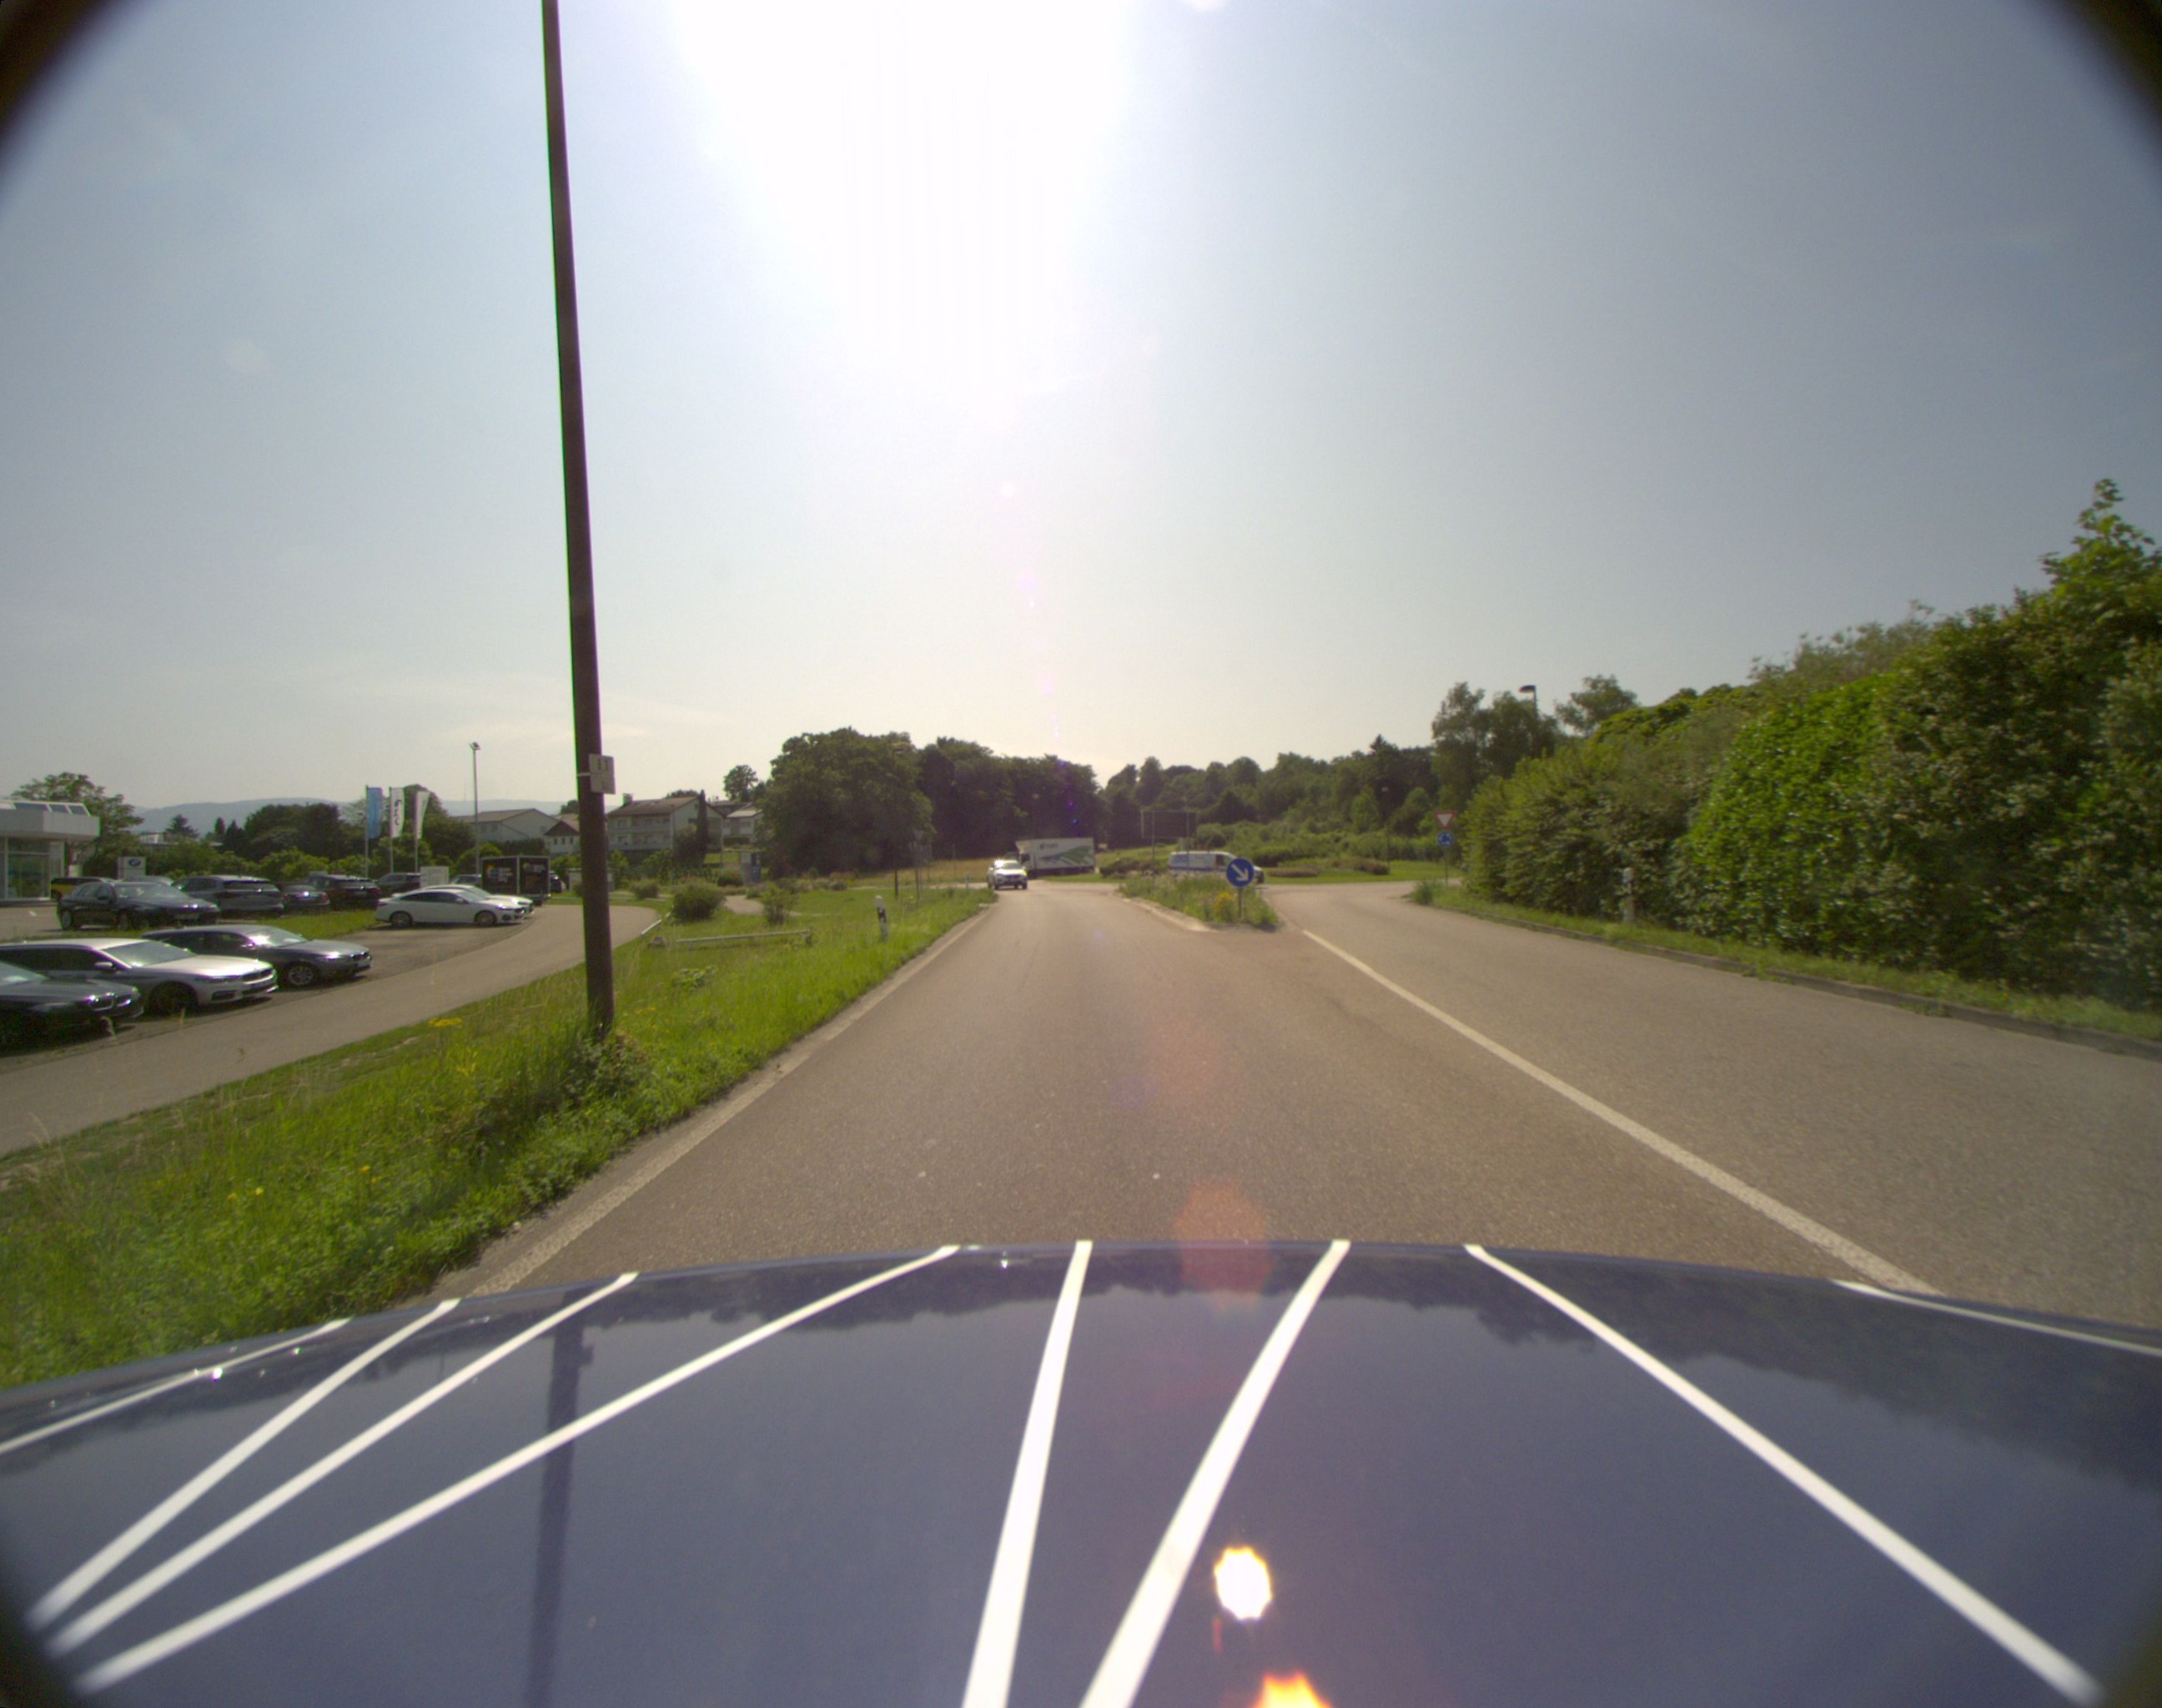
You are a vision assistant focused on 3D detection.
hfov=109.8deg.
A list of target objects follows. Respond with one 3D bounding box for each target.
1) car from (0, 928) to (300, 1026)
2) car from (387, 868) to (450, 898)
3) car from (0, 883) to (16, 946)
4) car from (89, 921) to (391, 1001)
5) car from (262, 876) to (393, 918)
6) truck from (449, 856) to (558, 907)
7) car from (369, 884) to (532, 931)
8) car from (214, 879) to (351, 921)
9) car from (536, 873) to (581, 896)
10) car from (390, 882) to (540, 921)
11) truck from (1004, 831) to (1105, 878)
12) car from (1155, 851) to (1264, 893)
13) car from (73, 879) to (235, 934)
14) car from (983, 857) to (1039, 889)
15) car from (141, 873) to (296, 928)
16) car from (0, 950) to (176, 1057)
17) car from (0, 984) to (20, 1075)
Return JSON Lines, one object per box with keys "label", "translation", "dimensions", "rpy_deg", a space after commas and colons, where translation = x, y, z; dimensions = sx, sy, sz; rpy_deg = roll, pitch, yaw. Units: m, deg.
{"label": "car", "translation": [-19.840, 2.506, 15.858], "dimensions": [4.575, 1.557, 1.920], "rpy_deg": [0, 3, -13]}
{"label": "car", "translation": [-38.925, 1.703, 44.639], "dimensions": [3.808, 1.670, 1.914], "rpy_deg": [-1, -1, 35]}
{"label": "car", "translation": [-27.876, 1.476, 17.779], "dimensions": [4.459, 1.491, 1.952], "rpy_deg": [-1, 0, 15]}
{"label": "car", "translation": [-20.105, 2.518, 18.449], "dimensions": [4.577, 1.413, 1.780], "rpy_deg": [0, 3, -18]}
{"label": "car", "translation": [-31.898, 1.768, 32.201], "dimensions": [4.417, 1.491, 1.951], "rpy_deg": [1, 1, 15]}
{"label": "truck", "translation": [-31.243, 1.472, 41.105], "dimensions": [5.614, 2.649, 1.953], "rpy_deg": [-1, 0, 20]}
{"label": "car", "translation": [-24.654, 2.060, 29.927], "dimensions": [4.582, 1.561, 1.765], "rpy_deg": [-1, 1, -19]}
{"label": "car", "translation": [-31.087, 1.756, 29.612], "dimensions": [4.001, 1.491, 1.952], "rpy_deg": [0, -1, 15]}
{"label": "car", "translation": [-36.093, 2.068, 52.466], "dimensions": [1.914, 1.503, 4.364], "rpy_deg": [-1, -1, -43]}
{"label": "car", "translation": [-26.105, 1.996, 32.428], "dimensions": [4.672, 1.561, 1.765], "rpy_deg": [1, -1, -25]}
{"label": "truck", "translation": [-2.287, -0.033, 68.862], "dimensions": [9.039, 3.807, 2.893], "rpy_deg": [-3, 1, -40]}
{"label": "car", "translation": [6.662, 0.922, 39.437], "dimensions": [5.219, 1.927, 1.863], "rpy_deg": [-3, 1, 20]}
{"label": "car", "translation": [-28.424, 1.565, 23.309], "dimensions": [4.000, 1.517, 1.953], "rpy_deg": [-1, 0, 20]}
{"label": "car", "translation": [-4.117, 1.075, 43.935], "dimensions": [2.199, 1.642, 5.115], "rpy_deg": [-3, 0, -17]}
{"label": "car", "translation": [-29.862, 1.555, 26.349], "dimensions": [4.001, 1.740, 1.952], "rpy_deg": [0, 0, 15]}
{"label": "car", "translation": [-19.636, 2.651, 13.469], "dimensions": [4.264, 1.474, 1.920], "rpy_deg": [0, 3, -13]}
{"label": "car", "translation": [-19.104, 2.798, 11.054], "dimensions": [4.260, 1.405, 1.921], "rpy_deg": [0, 2, -4]}
